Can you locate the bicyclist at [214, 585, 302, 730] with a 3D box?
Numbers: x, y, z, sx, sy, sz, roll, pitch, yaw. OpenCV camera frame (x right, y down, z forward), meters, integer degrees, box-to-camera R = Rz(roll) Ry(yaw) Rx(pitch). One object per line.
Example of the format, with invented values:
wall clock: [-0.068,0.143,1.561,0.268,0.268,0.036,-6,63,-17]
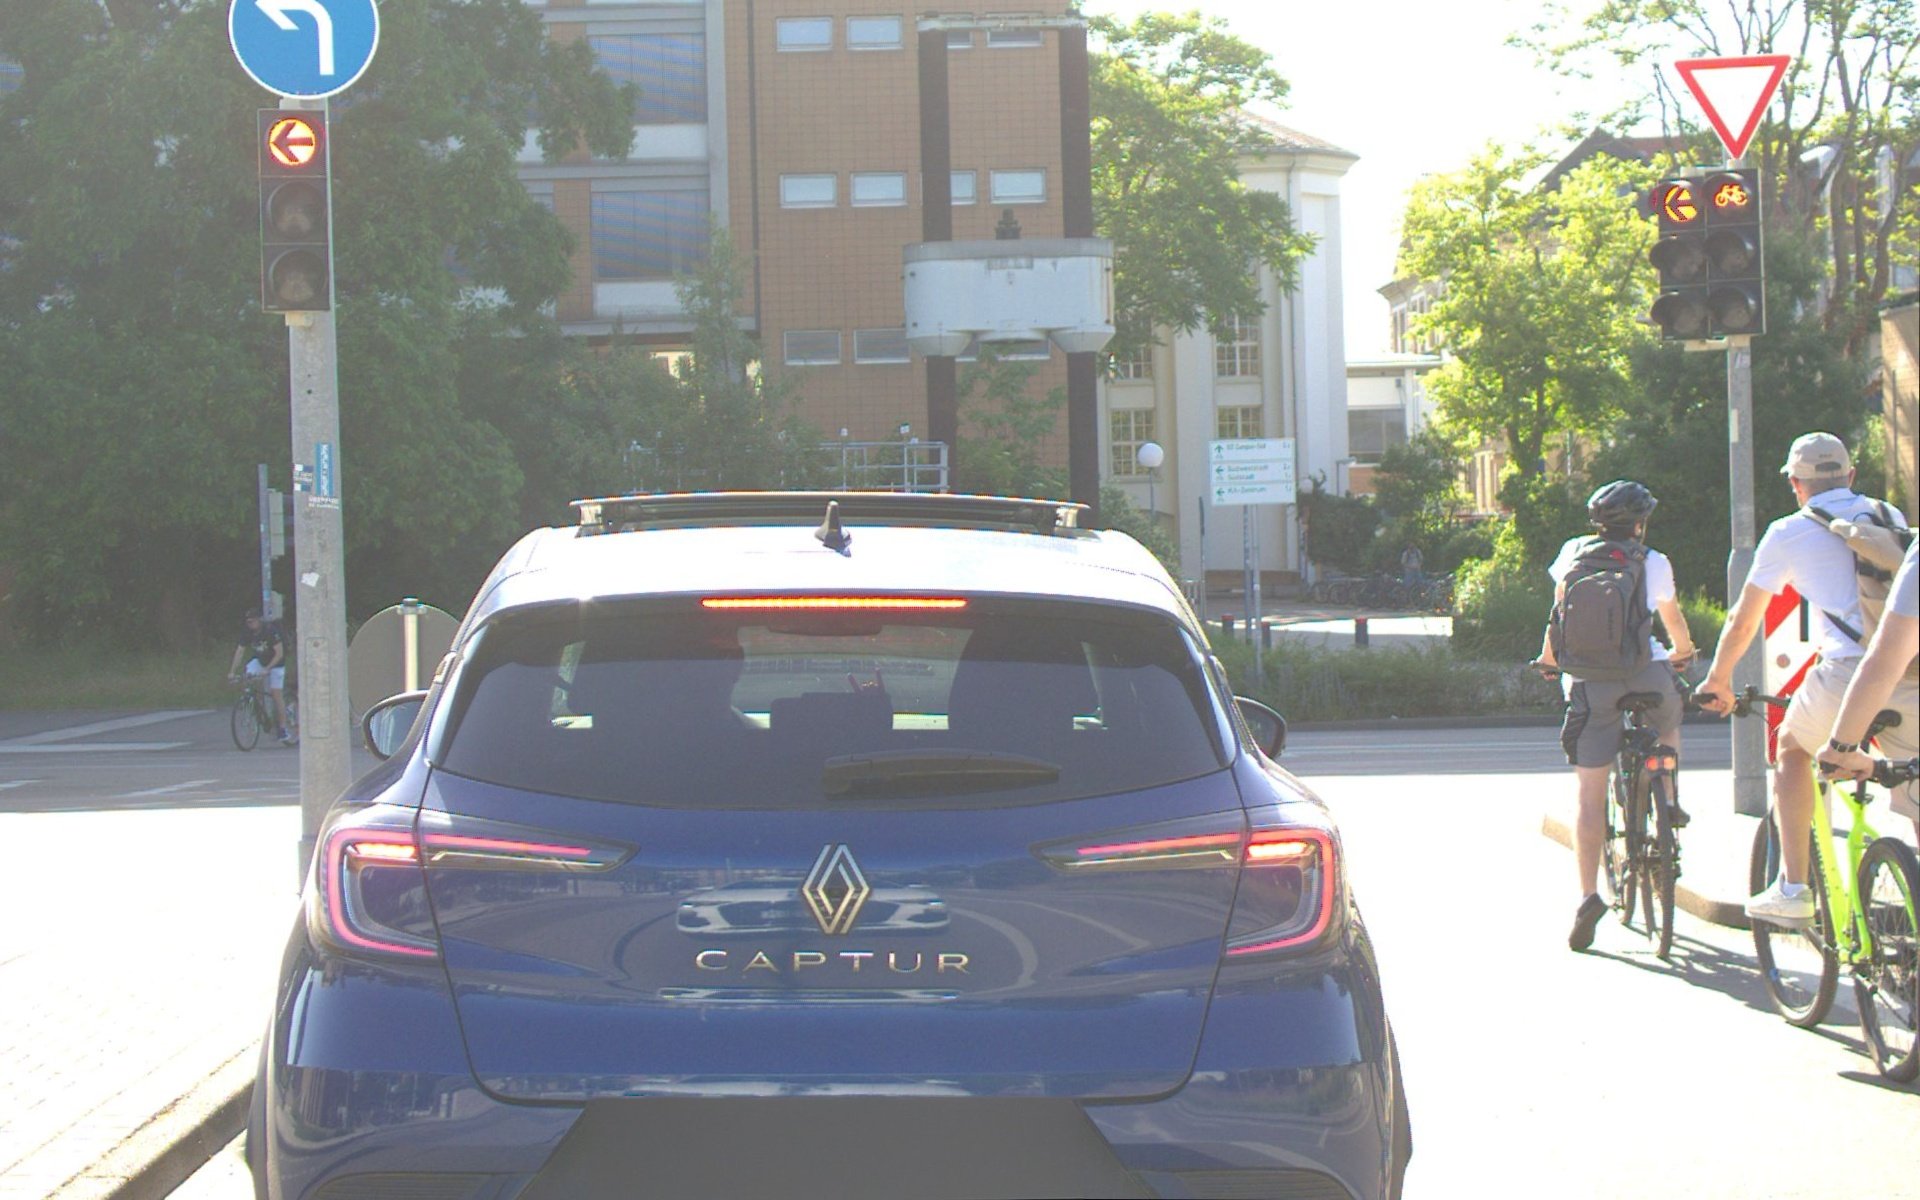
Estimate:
bicyclist: [-8.523,0.690,41.799,0.755,1.710,0.998,-1,1,5]

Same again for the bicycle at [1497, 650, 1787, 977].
bicycle: [2.525,0.758,12.935,0.689,1.085,1.922,0,1,-1]

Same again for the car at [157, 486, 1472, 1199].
car: [-0.275,0.611,6.644,1.788,1.580,3.915,0,1,-2]

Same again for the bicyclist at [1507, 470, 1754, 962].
bicyclist: [2.520,0.413,13.024,0.699,1.785,1.142,0,1,-1]

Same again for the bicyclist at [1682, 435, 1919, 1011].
bicyclist: [2.580,0.332,10.055,0.678,1.589,1.142,0,1,-1]

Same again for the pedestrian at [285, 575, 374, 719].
pedestrian: [-8.258,0.606,45.047,0.814,1.856,0.909,-1,1,13]

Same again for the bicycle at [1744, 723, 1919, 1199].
bicycle: [2.228,0.848,7.252,0.689,1.085,1.922,0,1,-1]

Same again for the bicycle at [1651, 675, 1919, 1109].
bicycle: [2.577,0.797,10.096,0.689,1.085,1.922,0,1,-1]

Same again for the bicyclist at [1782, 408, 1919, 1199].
bicyclist: [2.230,0.507,7.298,0.683,1.785,1.142,0,1,-1]

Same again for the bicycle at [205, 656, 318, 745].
bicycle: [-8.506,1.212,41.953,0.755,0.981,2.093,-1,1,5]
